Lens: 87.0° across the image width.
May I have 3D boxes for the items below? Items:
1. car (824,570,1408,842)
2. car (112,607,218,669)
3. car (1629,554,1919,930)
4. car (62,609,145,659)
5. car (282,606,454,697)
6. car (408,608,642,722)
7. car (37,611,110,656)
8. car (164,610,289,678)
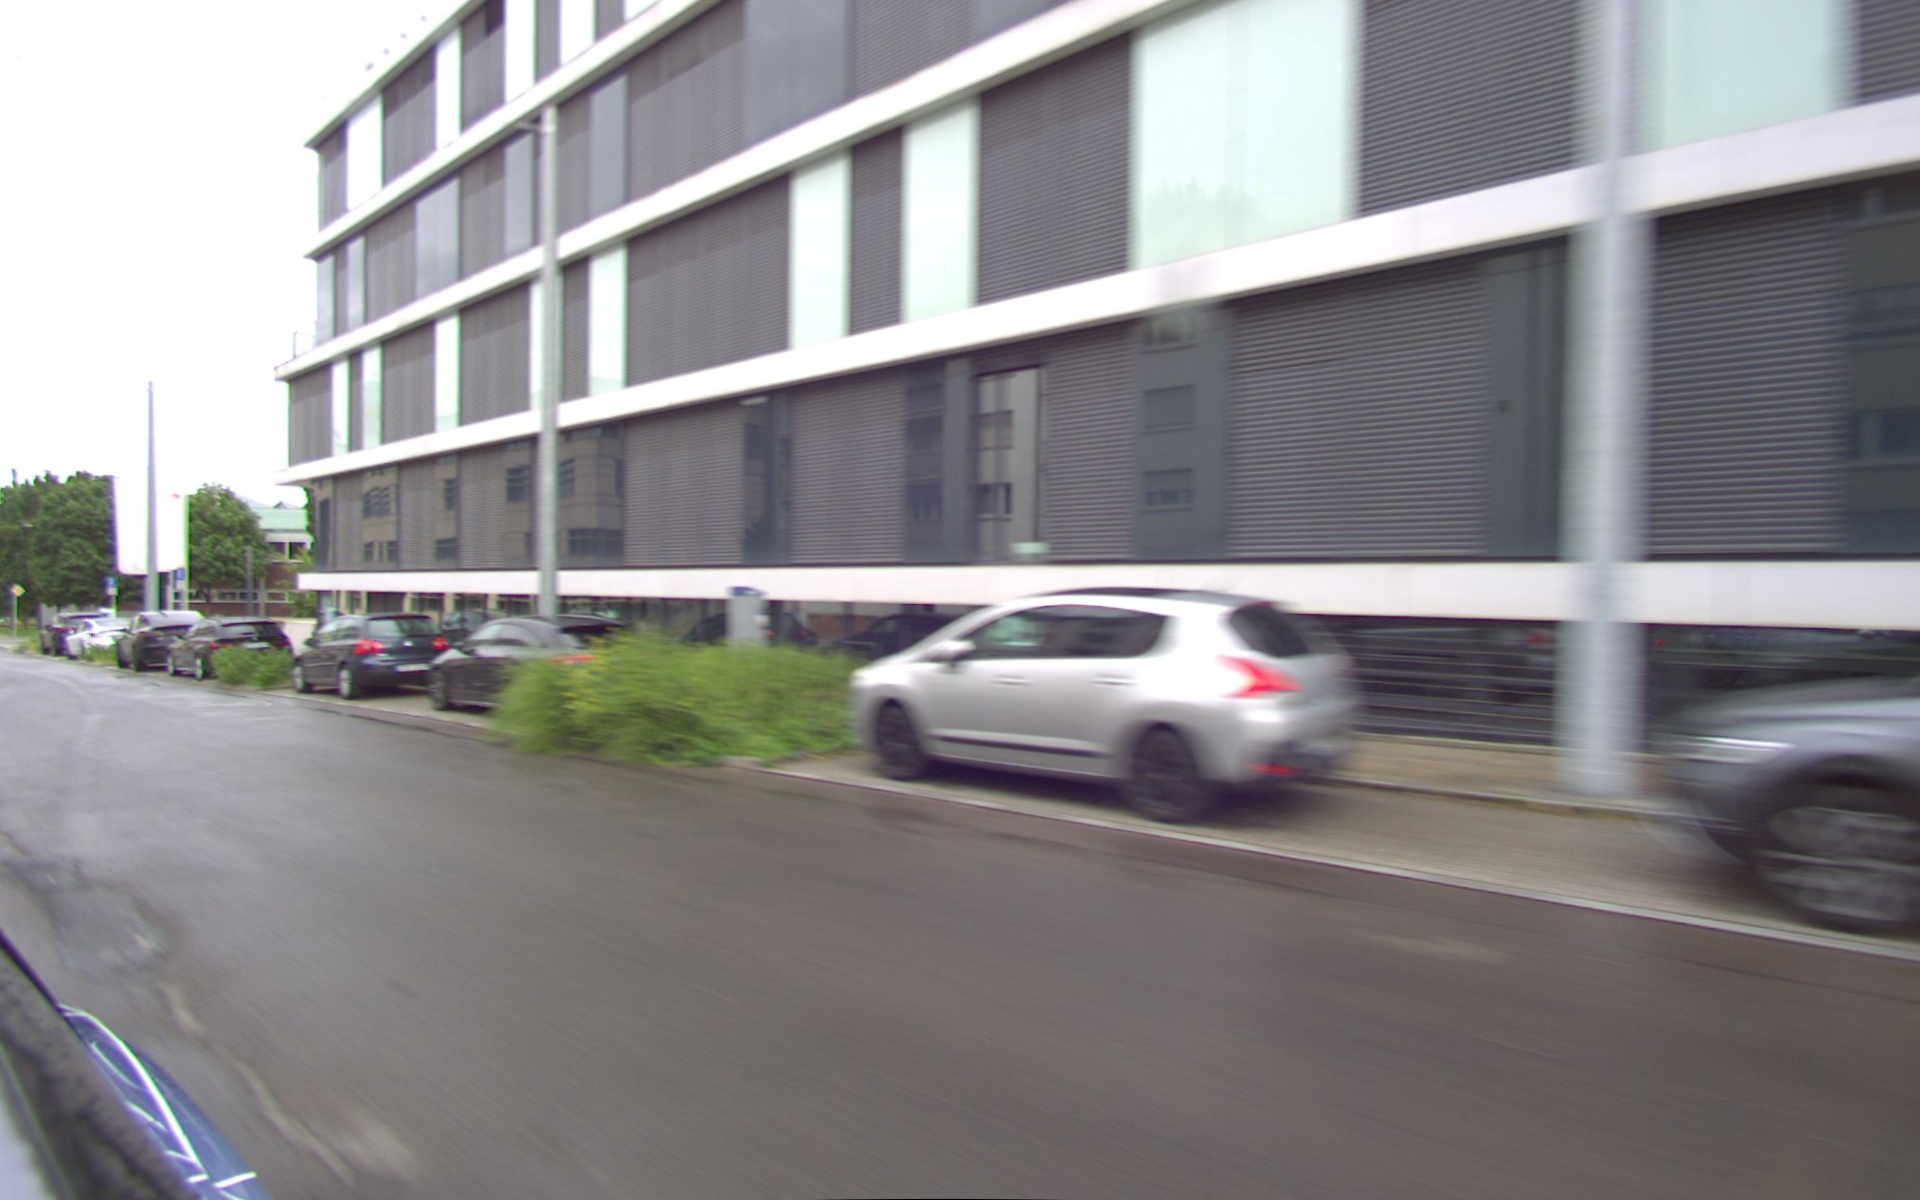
[{"bbox_3d":[1.045,0.636,8.173,4.361,1.601,1.811,-1,1,41],"label":"car"},{"bbox_3d":[-22.415,1.030,28.491,4.039,1.597,1.621,-1,0,41],"label":"car"},{"bbox_3d":[5.554,0.568,4.215,4.363,1.601,1.862,-1,1,43],"label":"car"},{"bbox_3d":[-29.764,1.156,35.148,4.039,1.597,1.621,-1,0,41],"label":"car"},{"bbox_3d":[-11.022,0.876,18.738,4.039,1.483,1.545,-1,0,41],"label":"car"},{"bbox_3d":[-6.416,0.846,14.731,4.039,1.404,1.545,-1,0,41],"label":"car"},{"bbox_3d":[-34.614,1.275,39.481,4.039,1.597,1.621,-1,0,41],"label":"car"},{"bbox_3d":[-17.924,1.023,24.665,4.039,1.483,1.621,-1,0,41],"label":"car"}]
